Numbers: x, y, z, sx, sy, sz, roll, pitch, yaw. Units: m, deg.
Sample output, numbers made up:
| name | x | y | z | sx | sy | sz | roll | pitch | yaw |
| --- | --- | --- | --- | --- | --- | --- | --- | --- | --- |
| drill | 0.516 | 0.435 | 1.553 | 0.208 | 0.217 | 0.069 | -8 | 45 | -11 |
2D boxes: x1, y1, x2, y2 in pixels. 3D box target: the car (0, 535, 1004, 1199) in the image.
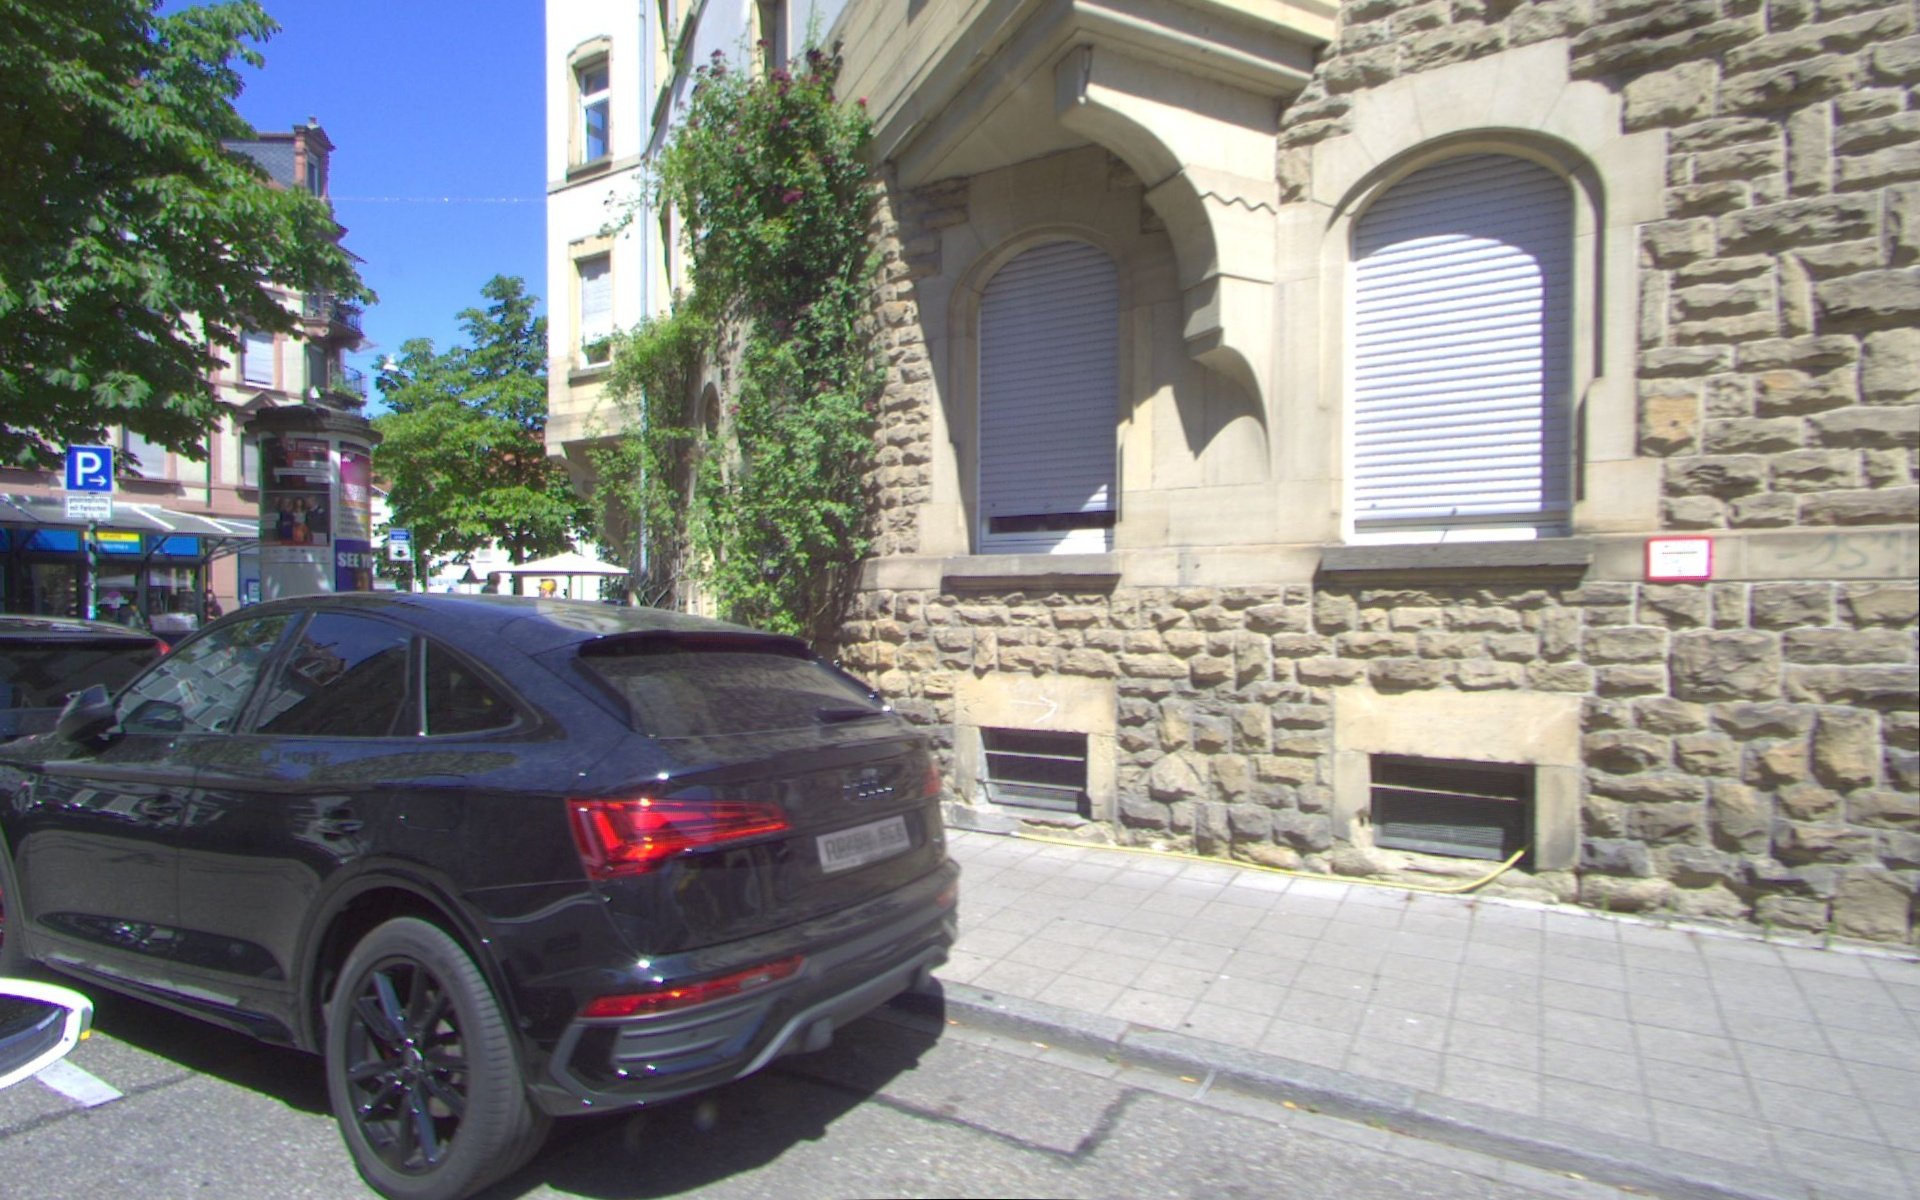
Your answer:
| name | x | y | z | sx | sy | sz | roll | pitch | yaw |
| --- | --- | --- | --- | --- | --- | --- | --- | --- | --- |
| car | -2.134 | 0.703 | 3.925 | 4.281 | 1.617 | 1.735 | 0 | -2 | 29 |

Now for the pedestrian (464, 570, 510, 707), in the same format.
| name | x | y | z | sx | sy | sz | roll | pitch | yaw |
| --- | --- | --- | --- | --- | --- | --- | --- | --- | --- |
| pedestrian | -6.715 | 0.529 | 14.233 | 0.511 | 1.893 | 0.652 | 0 | 0 | -20 |

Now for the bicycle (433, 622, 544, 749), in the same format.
| name | x | y | z | sx | sy | sz | roll | pitch | yaw |
| --- | --- | --- | --- | --- | --- | --- | --- | --- | --- |
| bicycle | -5.258 | 0.862 | 11.072 | 0.785 | 1.185 | 2.562 | -1 | 1 | -32 |

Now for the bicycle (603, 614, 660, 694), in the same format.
| name | x | y | z | sx | sy | sz | roll | pitch | yaw |
| --- | --- | --- | --- | --- | --- | --- | --- | --- | --- |
| bicycle | -4.760 | 0.740 | 14.450 | 0.541 | 1.053 | 1.829 | -1 | 1 | -26 |

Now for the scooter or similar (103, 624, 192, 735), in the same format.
| name | x | y | z | sx | sy | sz | roll | pitch | yaw |
| --- | --- | --- | --- | --- | --- | --- | --- | --- | --- |
| scooter or similar | -9.154 | 0.863 | 11.320 | 0.436 | 1.152 | 1.181 | -1 | 1 | -22 |

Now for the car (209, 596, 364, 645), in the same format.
| name | x | y | z | sx | sy | sz | roll | pitch | yaw |
| --- | --- | --- | --- | --- | --- | --- | --- | --- | --- |
| car | -22.696 | 0.640 | 33.889 | 1.752 | 1.526 | 3.981 | 0 | 1 | 30 |

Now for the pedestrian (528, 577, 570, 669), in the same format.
| name | x | y | z | sx | sy | sz | roll | pitch | yaw |
| --- | --- | --- | --- | --- | --- | --- | --- | --- | --- |
| pedestrian | -8.233 | 0.451 | 20.091 | 0.572 | 1.818 | 0.749 | 0 | 1 | -7 |

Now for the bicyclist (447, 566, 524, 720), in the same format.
| name | x | y | z | sx | sy | sz | roll | pitch | yaw |
| --- | --- | --- | --- | --- | --- | --- | --- | --- | --- |
| bicyclist | -5.348 | 0.462 | 11.281 | 0.671 | 1.670 | 0.657 | -1 | 1 | -35 |

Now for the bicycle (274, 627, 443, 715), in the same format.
| name | x | y | z | sx | sy | sz | roll | pitch | yaw |
| --- | --- | --- | --- | --- | --- | --- | --- | --- | --- |
| bicycle | -8.162 | 0.926 | 13.680 | 0.624 | 1.053 | 1.896 | 0 | 1 | 31 |

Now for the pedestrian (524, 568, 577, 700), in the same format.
| name | x | y | z | sx | sy | sz | roll | pitch | yaw |
| --- | --- | --- | --- | --- | --- | --- | --- | --- | --- |
| pedestrian | -6.093 | 0.499 | 14.941 | 0.590 | 1.905 | 0.882 | 0 | 0 | -13 |

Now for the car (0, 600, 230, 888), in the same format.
| name | x | y | z | sx | sy | sz | roll | pitch | yaw |
| --- | --- | --- | --- | --- | --- | --- | --- | --- | --- |
| car | -6.844 | 0.795 | 6.717 | 4.116 | 1.560 | 1.661 | 0 | -2 | 31 |
